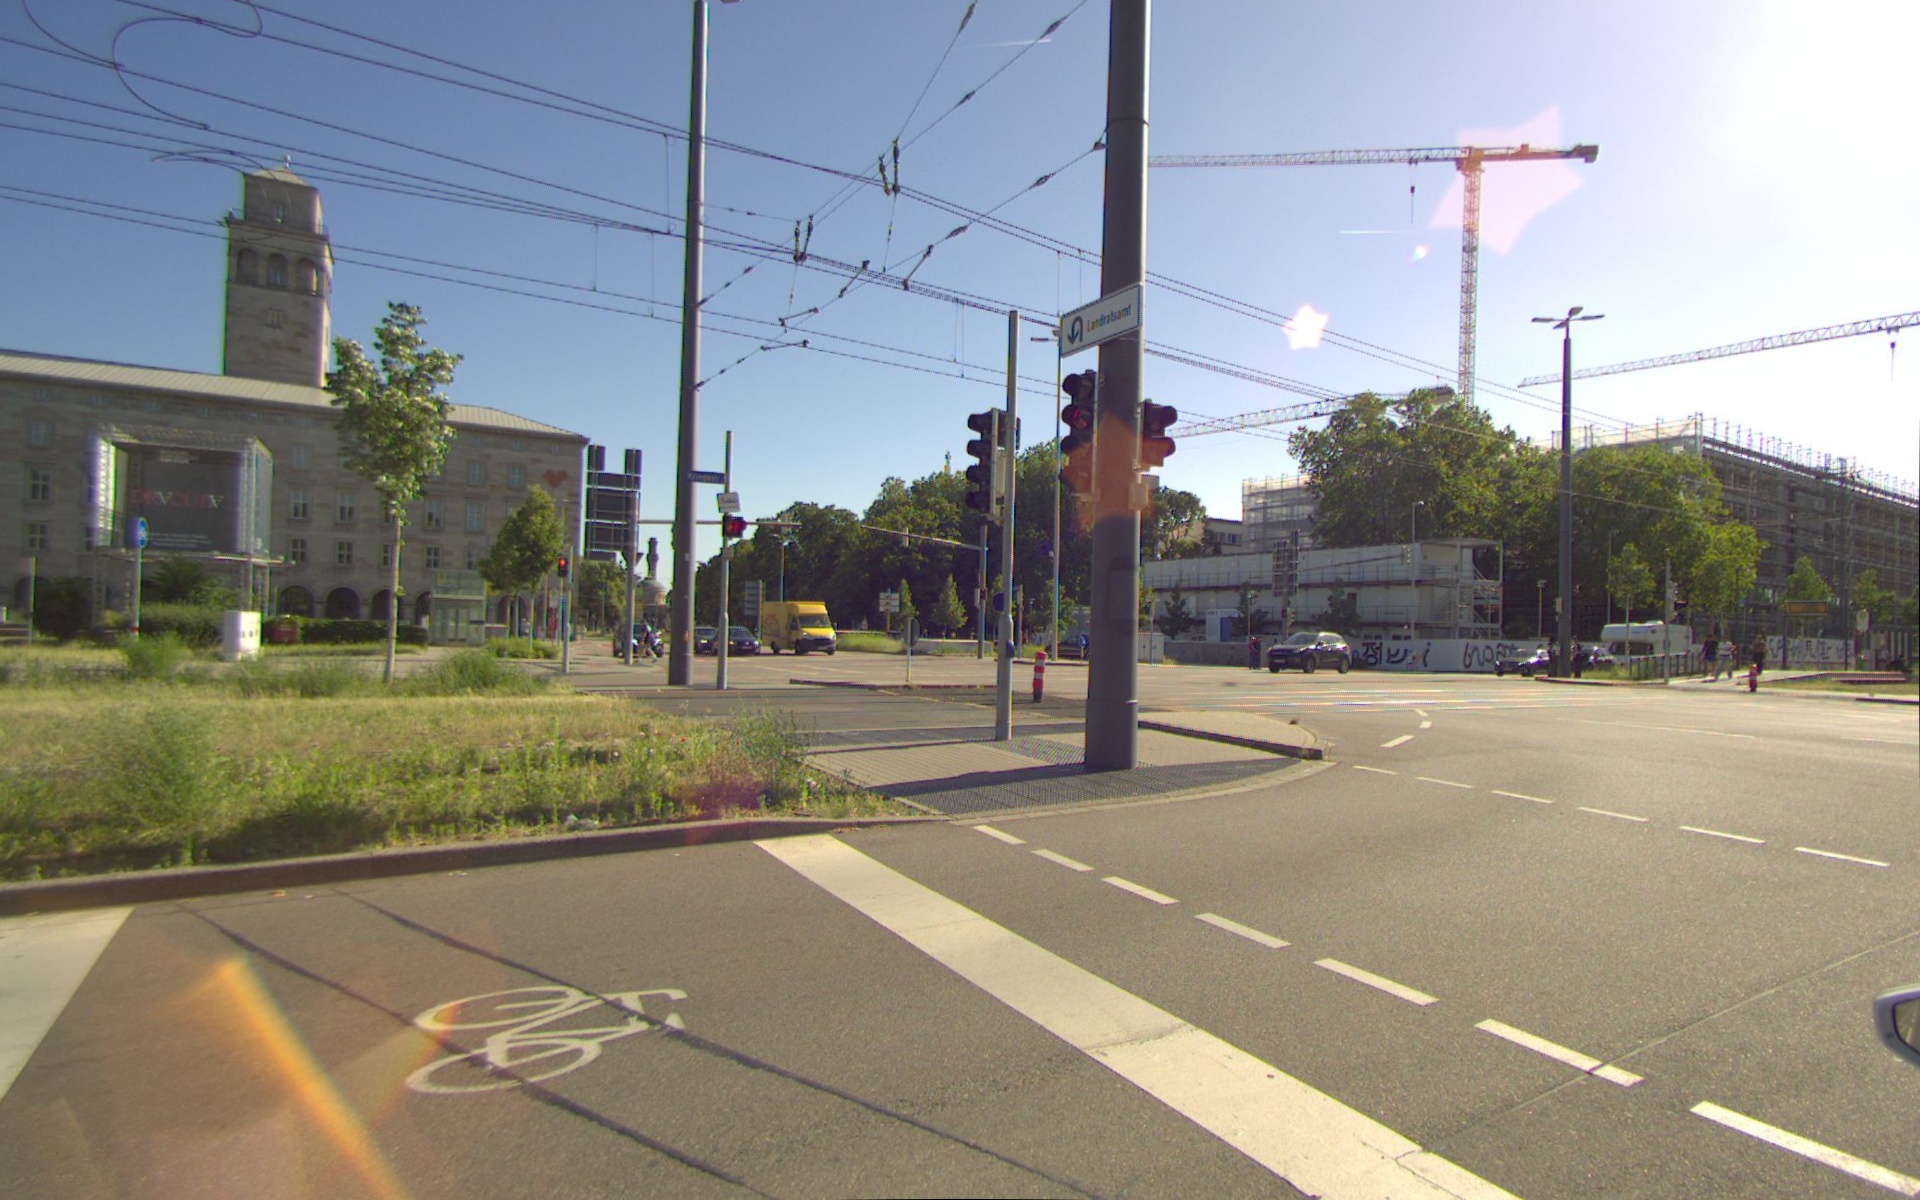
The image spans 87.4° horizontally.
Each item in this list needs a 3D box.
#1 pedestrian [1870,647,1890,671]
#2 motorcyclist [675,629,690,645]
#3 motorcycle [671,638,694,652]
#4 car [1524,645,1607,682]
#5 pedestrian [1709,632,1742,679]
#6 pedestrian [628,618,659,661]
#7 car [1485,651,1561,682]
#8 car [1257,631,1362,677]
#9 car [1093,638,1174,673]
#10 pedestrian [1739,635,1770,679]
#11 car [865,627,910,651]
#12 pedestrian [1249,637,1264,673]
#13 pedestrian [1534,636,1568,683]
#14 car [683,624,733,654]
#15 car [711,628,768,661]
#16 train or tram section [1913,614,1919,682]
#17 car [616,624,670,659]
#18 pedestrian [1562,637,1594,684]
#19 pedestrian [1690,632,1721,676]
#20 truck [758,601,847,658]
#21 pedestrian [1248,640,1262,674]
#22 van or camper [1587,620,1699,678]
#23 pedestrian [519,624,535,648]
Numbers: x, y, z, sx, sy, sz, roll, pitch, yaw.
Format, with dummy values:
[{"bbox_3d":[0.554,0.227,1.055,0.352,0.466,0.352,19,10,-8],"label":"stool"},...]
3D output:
[{"bbox_3d":[49.980,3.198,54.546,0.501,1.242,0.667,3,0,-35],"label":"pedestrian"},{"bbox_3d":[-19.228,2.546,69.578,0.785,1.096,1.012,3,-3,-29],"label":"motorcyclist"},{"bbox_3d":[-19.232,3.095,69.509,0.785,0.922,3.233,3,-3,-29],"label":"motorcycle"},{"bbox_3d":[30.569,3.189,50.657,4.322,1.730,1.934,3,-2,-34],"label":"car"},{"bbox_3d":[31.057,2.254,40.770,0.966,1.847,0.795,2,-2,-35],"label":"pedestrian"},{"bbox_3d":[-12.760,1.579,40.453,0.937,1.708,1.186,1,0,-31],"label":"pedestrian"},{"bbox_3d":[31.200,3.670,55.655,4.787,1.581,1.978,3,-2,-38],"label":"car"},{"bbox_3d":[14.454,2.237,41.480,4.521,1.730,1.978,3,-2,-38],"label":"car"},{"bbox_3d":[8.758,2.785,50.925,1.976,1.622,3.969,3,-2,-30],"label":"car"},{"bbox_3d":[34.038,2.441,43.008,0.966,1.847,0.795,2,-2,-35],"label":"pedestrian"},{"bbox_3d":[-5.352,2.836,73.679,1.974,1.622,3.973,2,-2,-26],"label":"car"},{"bbox_3d":[15.592,2.894,52.860,0.687,1.847,0.595,1,-1,21],"label":"pedestrian"},{"bbox_3d":[23.734,2.370,40.336,0.864,1.847,0.802,1,-1,0],"label":"pedestrian"},{"bbox_3d":[-14.008,2.143,55.637,1.879,1.559,3.973,3,-2,-26],"label":"car"},{"bbox_3d":[-11.265,2.249,51.115,1.879,1.559,3.973,3,-2,-26],"label":"car"},{"bbox_3d":[53.209,2.651,51.768,12.932,3.353,2.854,3,0,-33],"label":"train or tram section"},{"bbox_3d":[-15.519,1.993,49.090,1.879,1.559,3.973,3,-2,-26],"label":"car"},{"bbox_3d":[25.242,2.460,41.013,0.966,1.847,0.795,2,-2,-35],"label":"pedestrian"},{"bbox_3d":[31.876,2.321,42.953,0.966,1.847,0.795,2,-2,-35],"label":"pedestrian"},{"bbox_3d":[-8.708,1.582,54.688,2.431,2.829,7.981,2,-2,-26],"label":"truck"},{"bbox_3d":[16.175,3.107,55.066,0.687,1.847,0.595,1,-1,21],"label":"pedestrian"},{"bbox_3d":[37.469,2.687,55.036,7.266,2.976,2.589,3,-2,-34],"label":"van or camper"},{"bbox_3d":[-31.873,2.661,73.972,0.937,1.708,1.186,1,0,-31],"label":"pedestrian"}]
